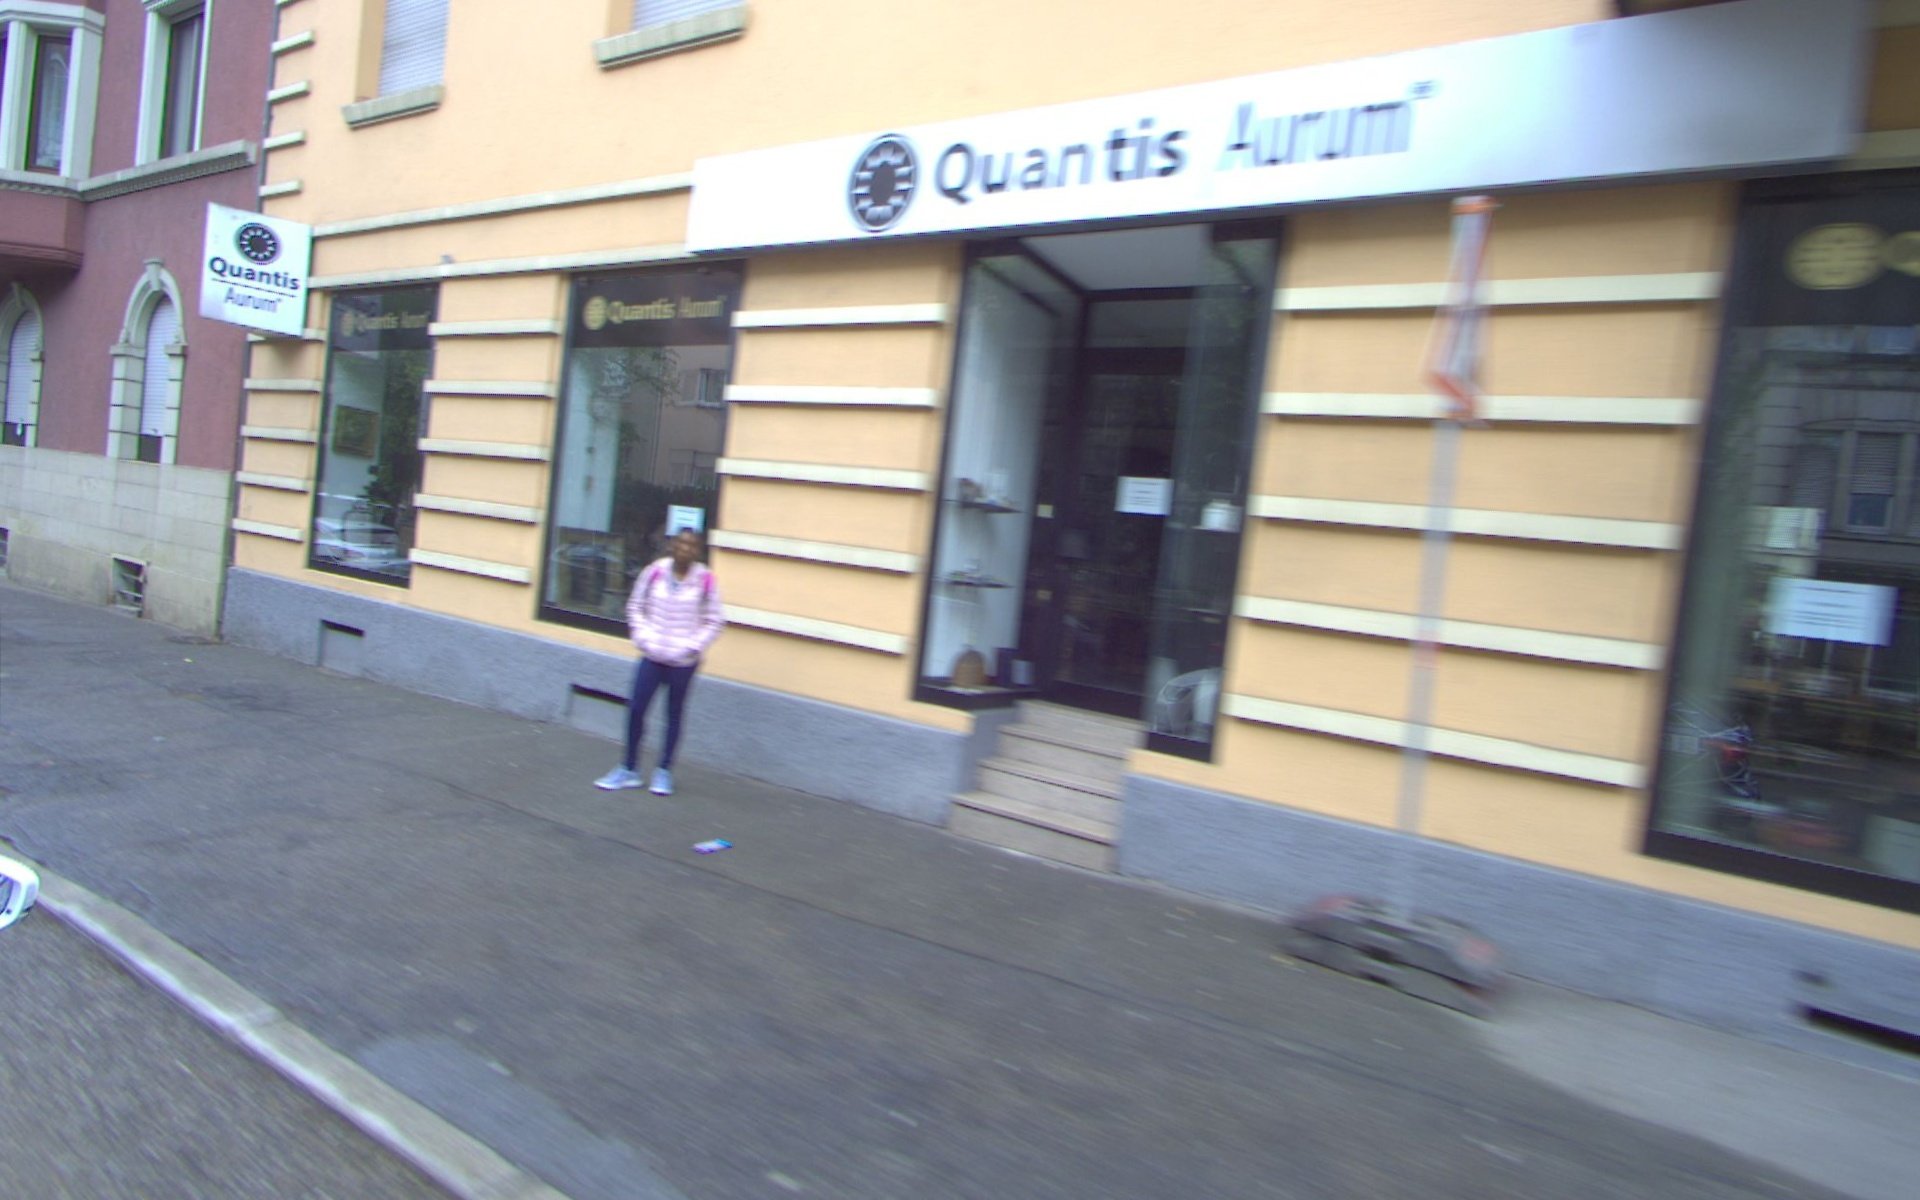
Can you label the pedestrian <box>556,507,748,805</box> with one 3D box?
[{"bbox_3d":[-1.813,0.309,6.012,0.698,1.610,0.768,5,1,13],"label":"pedestrian"}]
